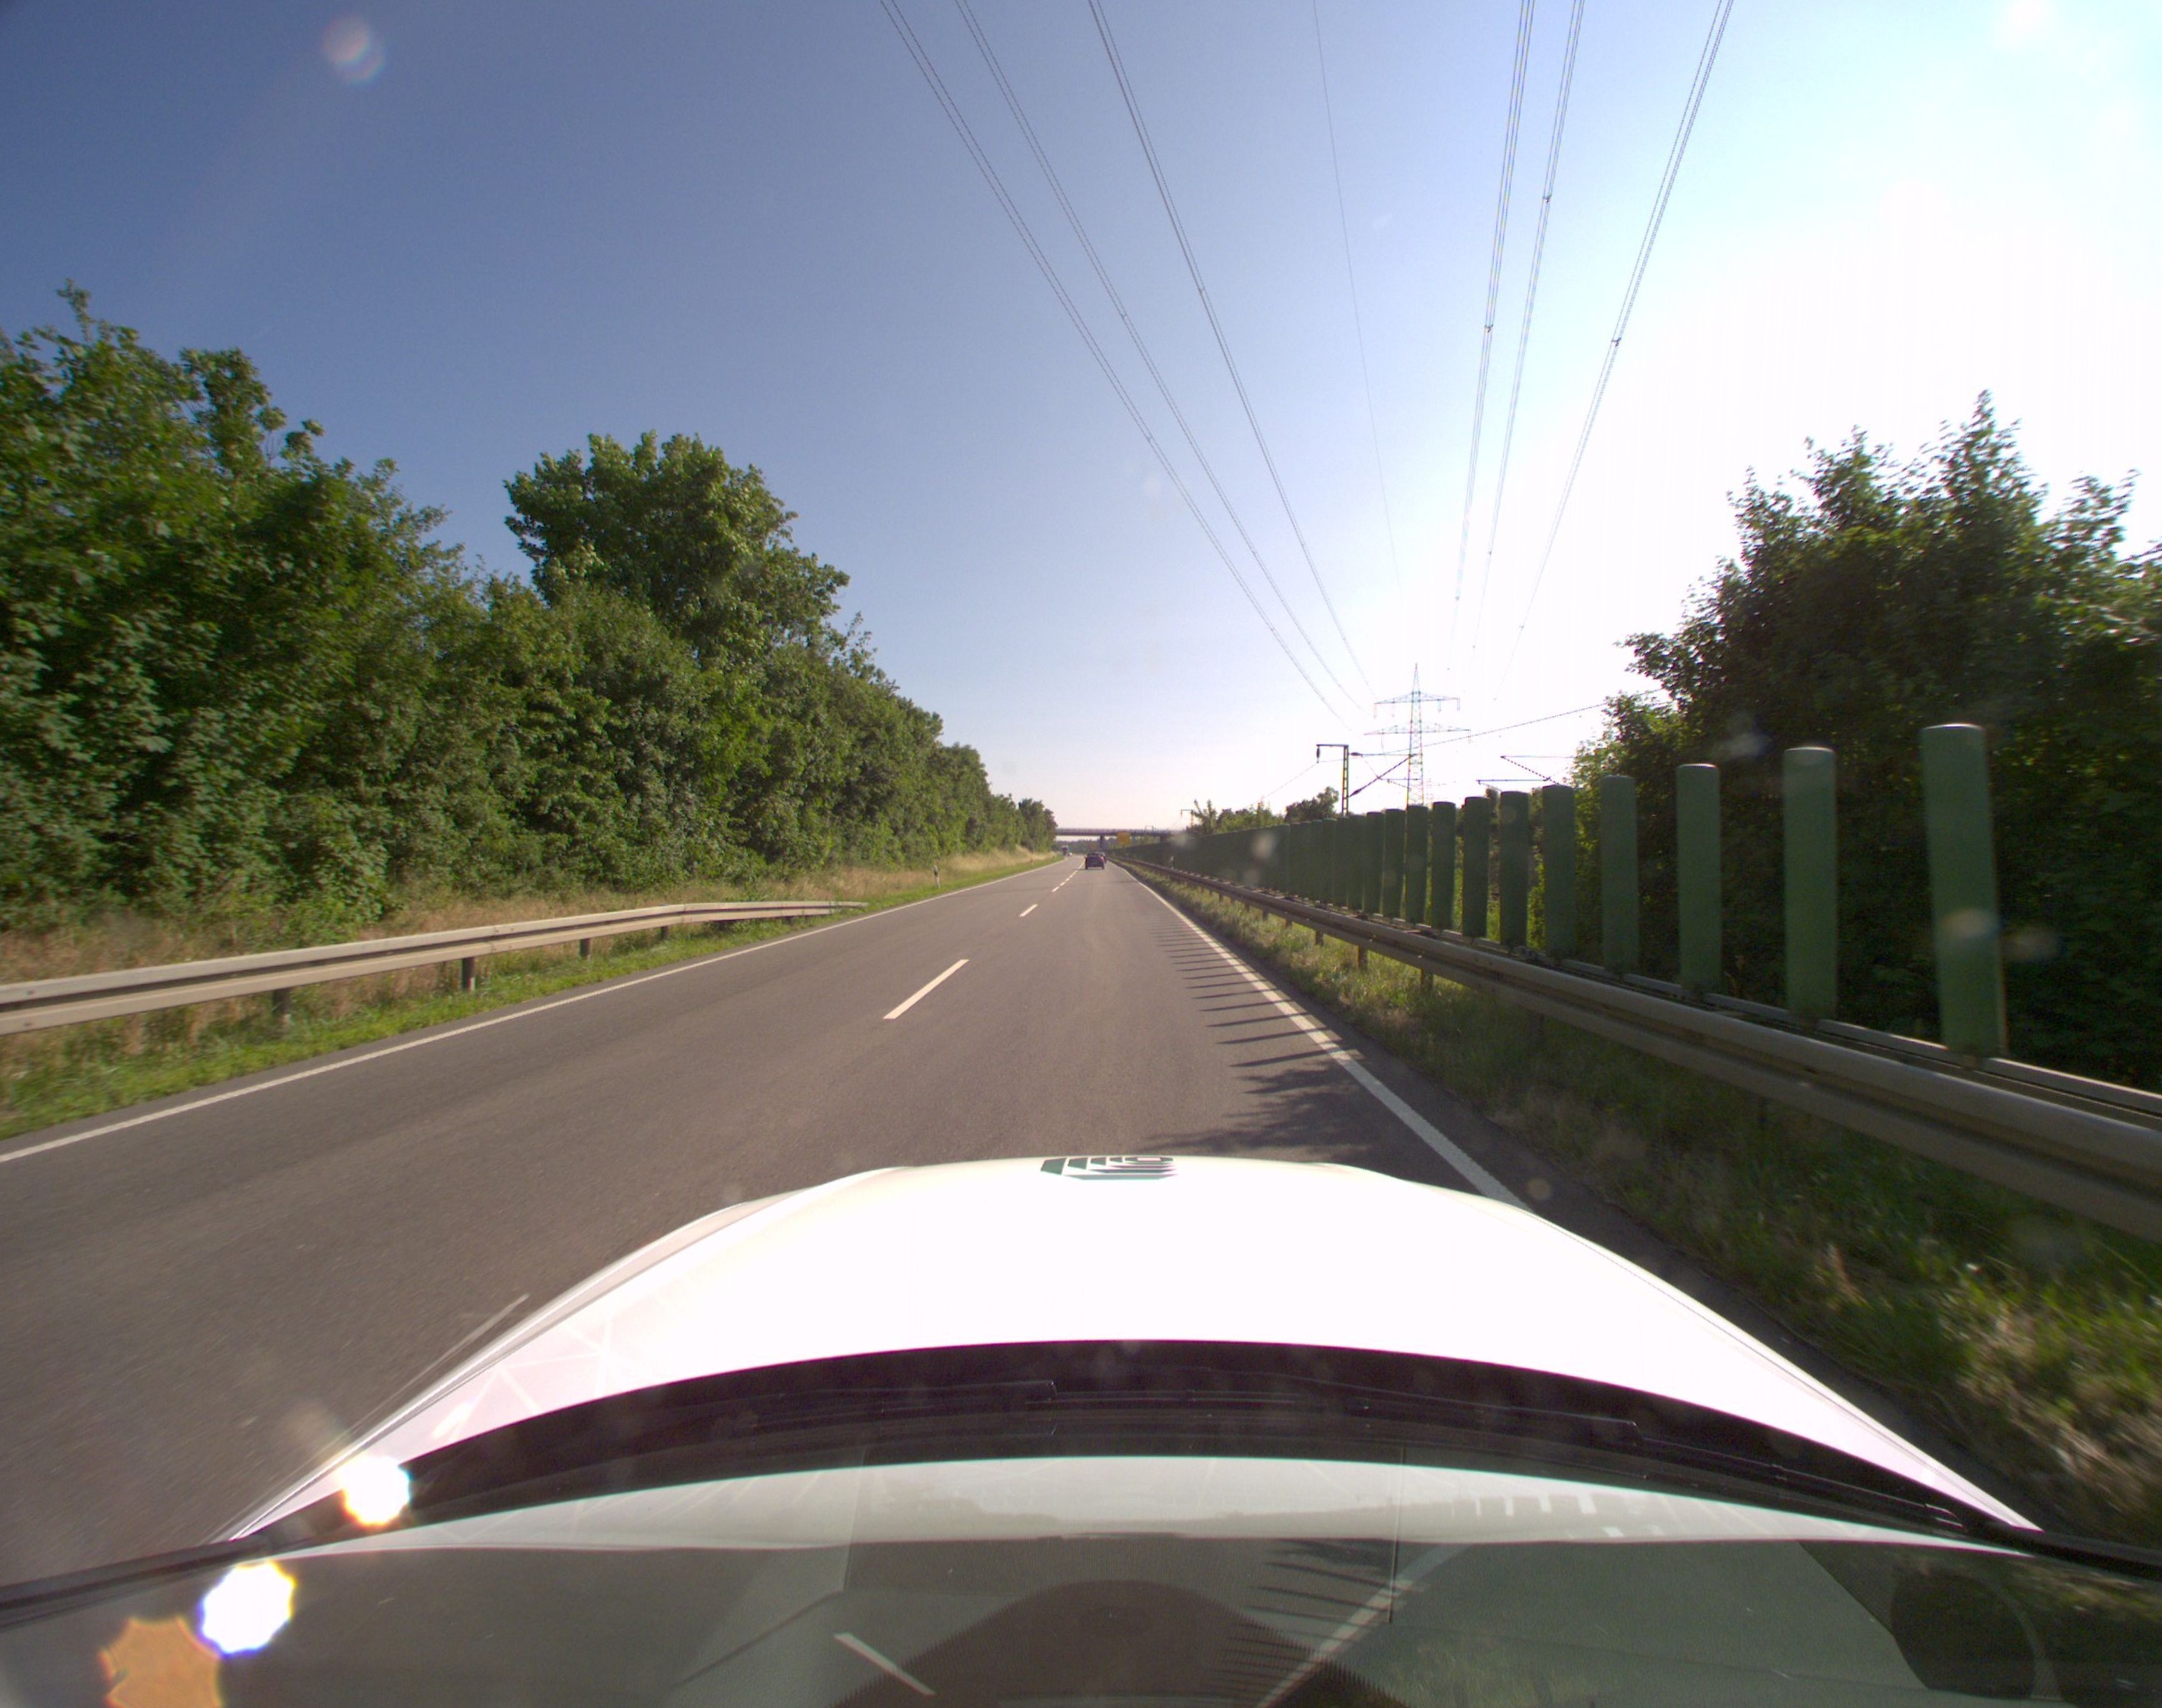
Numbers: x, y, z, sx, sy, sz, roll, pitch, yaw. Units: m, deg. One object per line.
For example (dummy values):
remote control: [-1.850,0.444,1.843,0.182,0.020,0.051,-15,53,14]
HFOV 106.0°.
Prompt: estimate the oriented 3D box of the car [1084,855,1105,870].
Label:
car: [1.113,0.729,69.725,1.658,1.261,3.999,0,0,-1]
